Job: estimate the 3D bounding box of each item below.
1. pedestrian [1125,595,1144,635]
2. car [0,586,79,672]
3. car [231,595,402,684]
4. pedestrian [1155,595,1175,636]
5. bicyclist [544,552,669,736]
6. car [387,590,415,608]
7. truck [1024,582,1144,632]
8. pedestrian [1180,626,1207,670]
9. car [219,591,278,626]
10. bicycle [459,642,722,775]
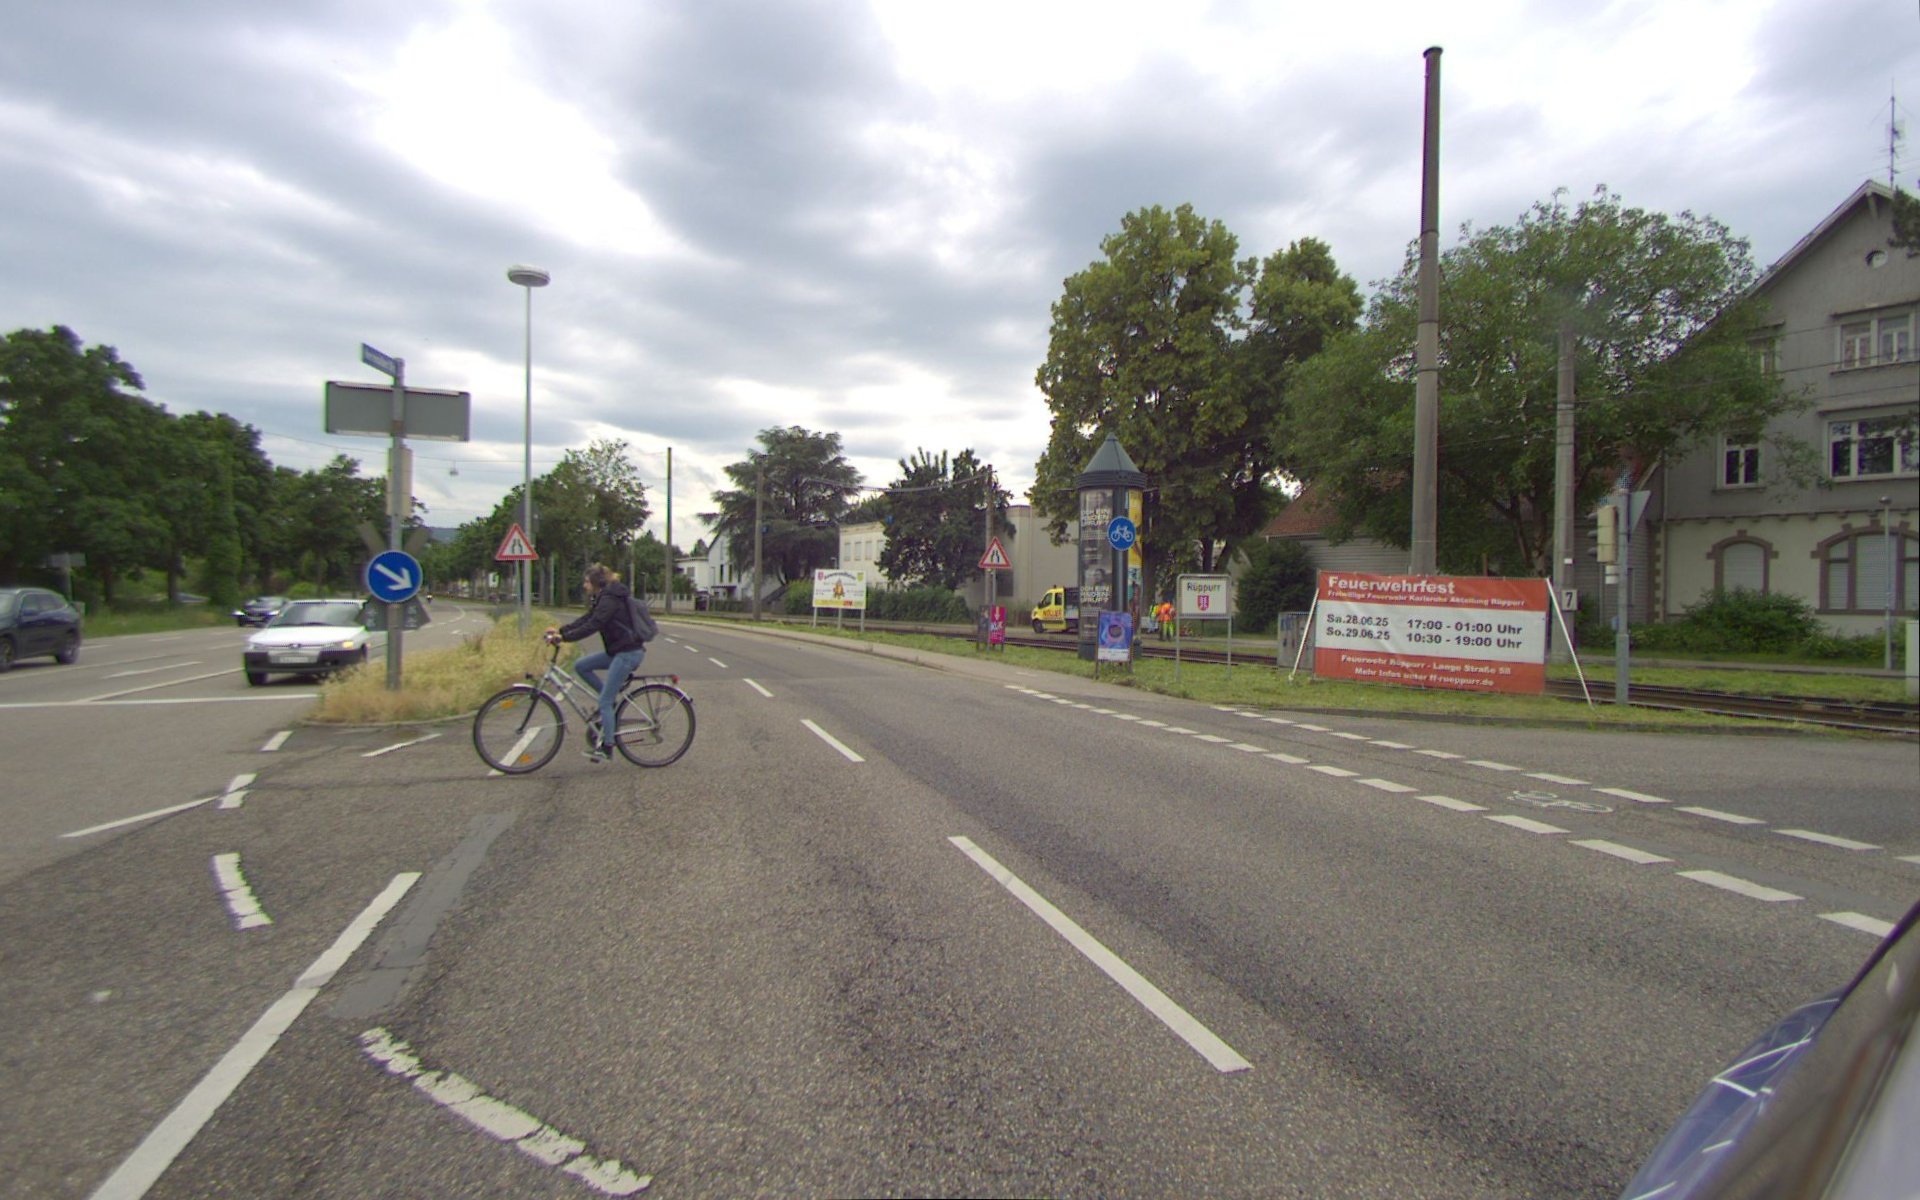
[{"bbox_3d":[7.785,0.665,45.231,0.625,1.784,0.575,1,0,-41],"label":"pedestrian"},{"bbox_3d":[-19.515,0.535,20.050,1.839,1.638,4.008,0,0,-21],"label":"car"},{"bbox_3d":[-11.190,0.617,17.888,1.612,1.374,4.159,1,0,-19],"label":"car"},{"bbox_3d":[8.973,0.677,44.263,0.625,1.784,0.575,1,0,-41],"label":"pedestrian"},{"bbox_3d":[-2.932,0.363,8.410,0.941,1.444,0.624,0,-4,-21],"label":"bicyclist"},{"bbox_3d":[-51.591,-0.135,93.432,1.723,1.594,4.008,1,0,-21],"label":"car"},{"bbox_3d":[6.034,0.289,50.271,2.552,2.322,6.418,0,0,-30],"label":"truck"},{"bbox_3d":[10.038,2.053,43.483,0.855,1.878,0.681,1,-1,-18],"label":"pedestrian"},{"bbox_3d":[-33.236,0.388,47.354,1.627,1.549,3.896,1,0,-26],"label":"car"},{"bbox_3d":[-3.014,0.860,8.377,1.987,0.993,0.384,0,0,-20],"label":"bicycle"}]
